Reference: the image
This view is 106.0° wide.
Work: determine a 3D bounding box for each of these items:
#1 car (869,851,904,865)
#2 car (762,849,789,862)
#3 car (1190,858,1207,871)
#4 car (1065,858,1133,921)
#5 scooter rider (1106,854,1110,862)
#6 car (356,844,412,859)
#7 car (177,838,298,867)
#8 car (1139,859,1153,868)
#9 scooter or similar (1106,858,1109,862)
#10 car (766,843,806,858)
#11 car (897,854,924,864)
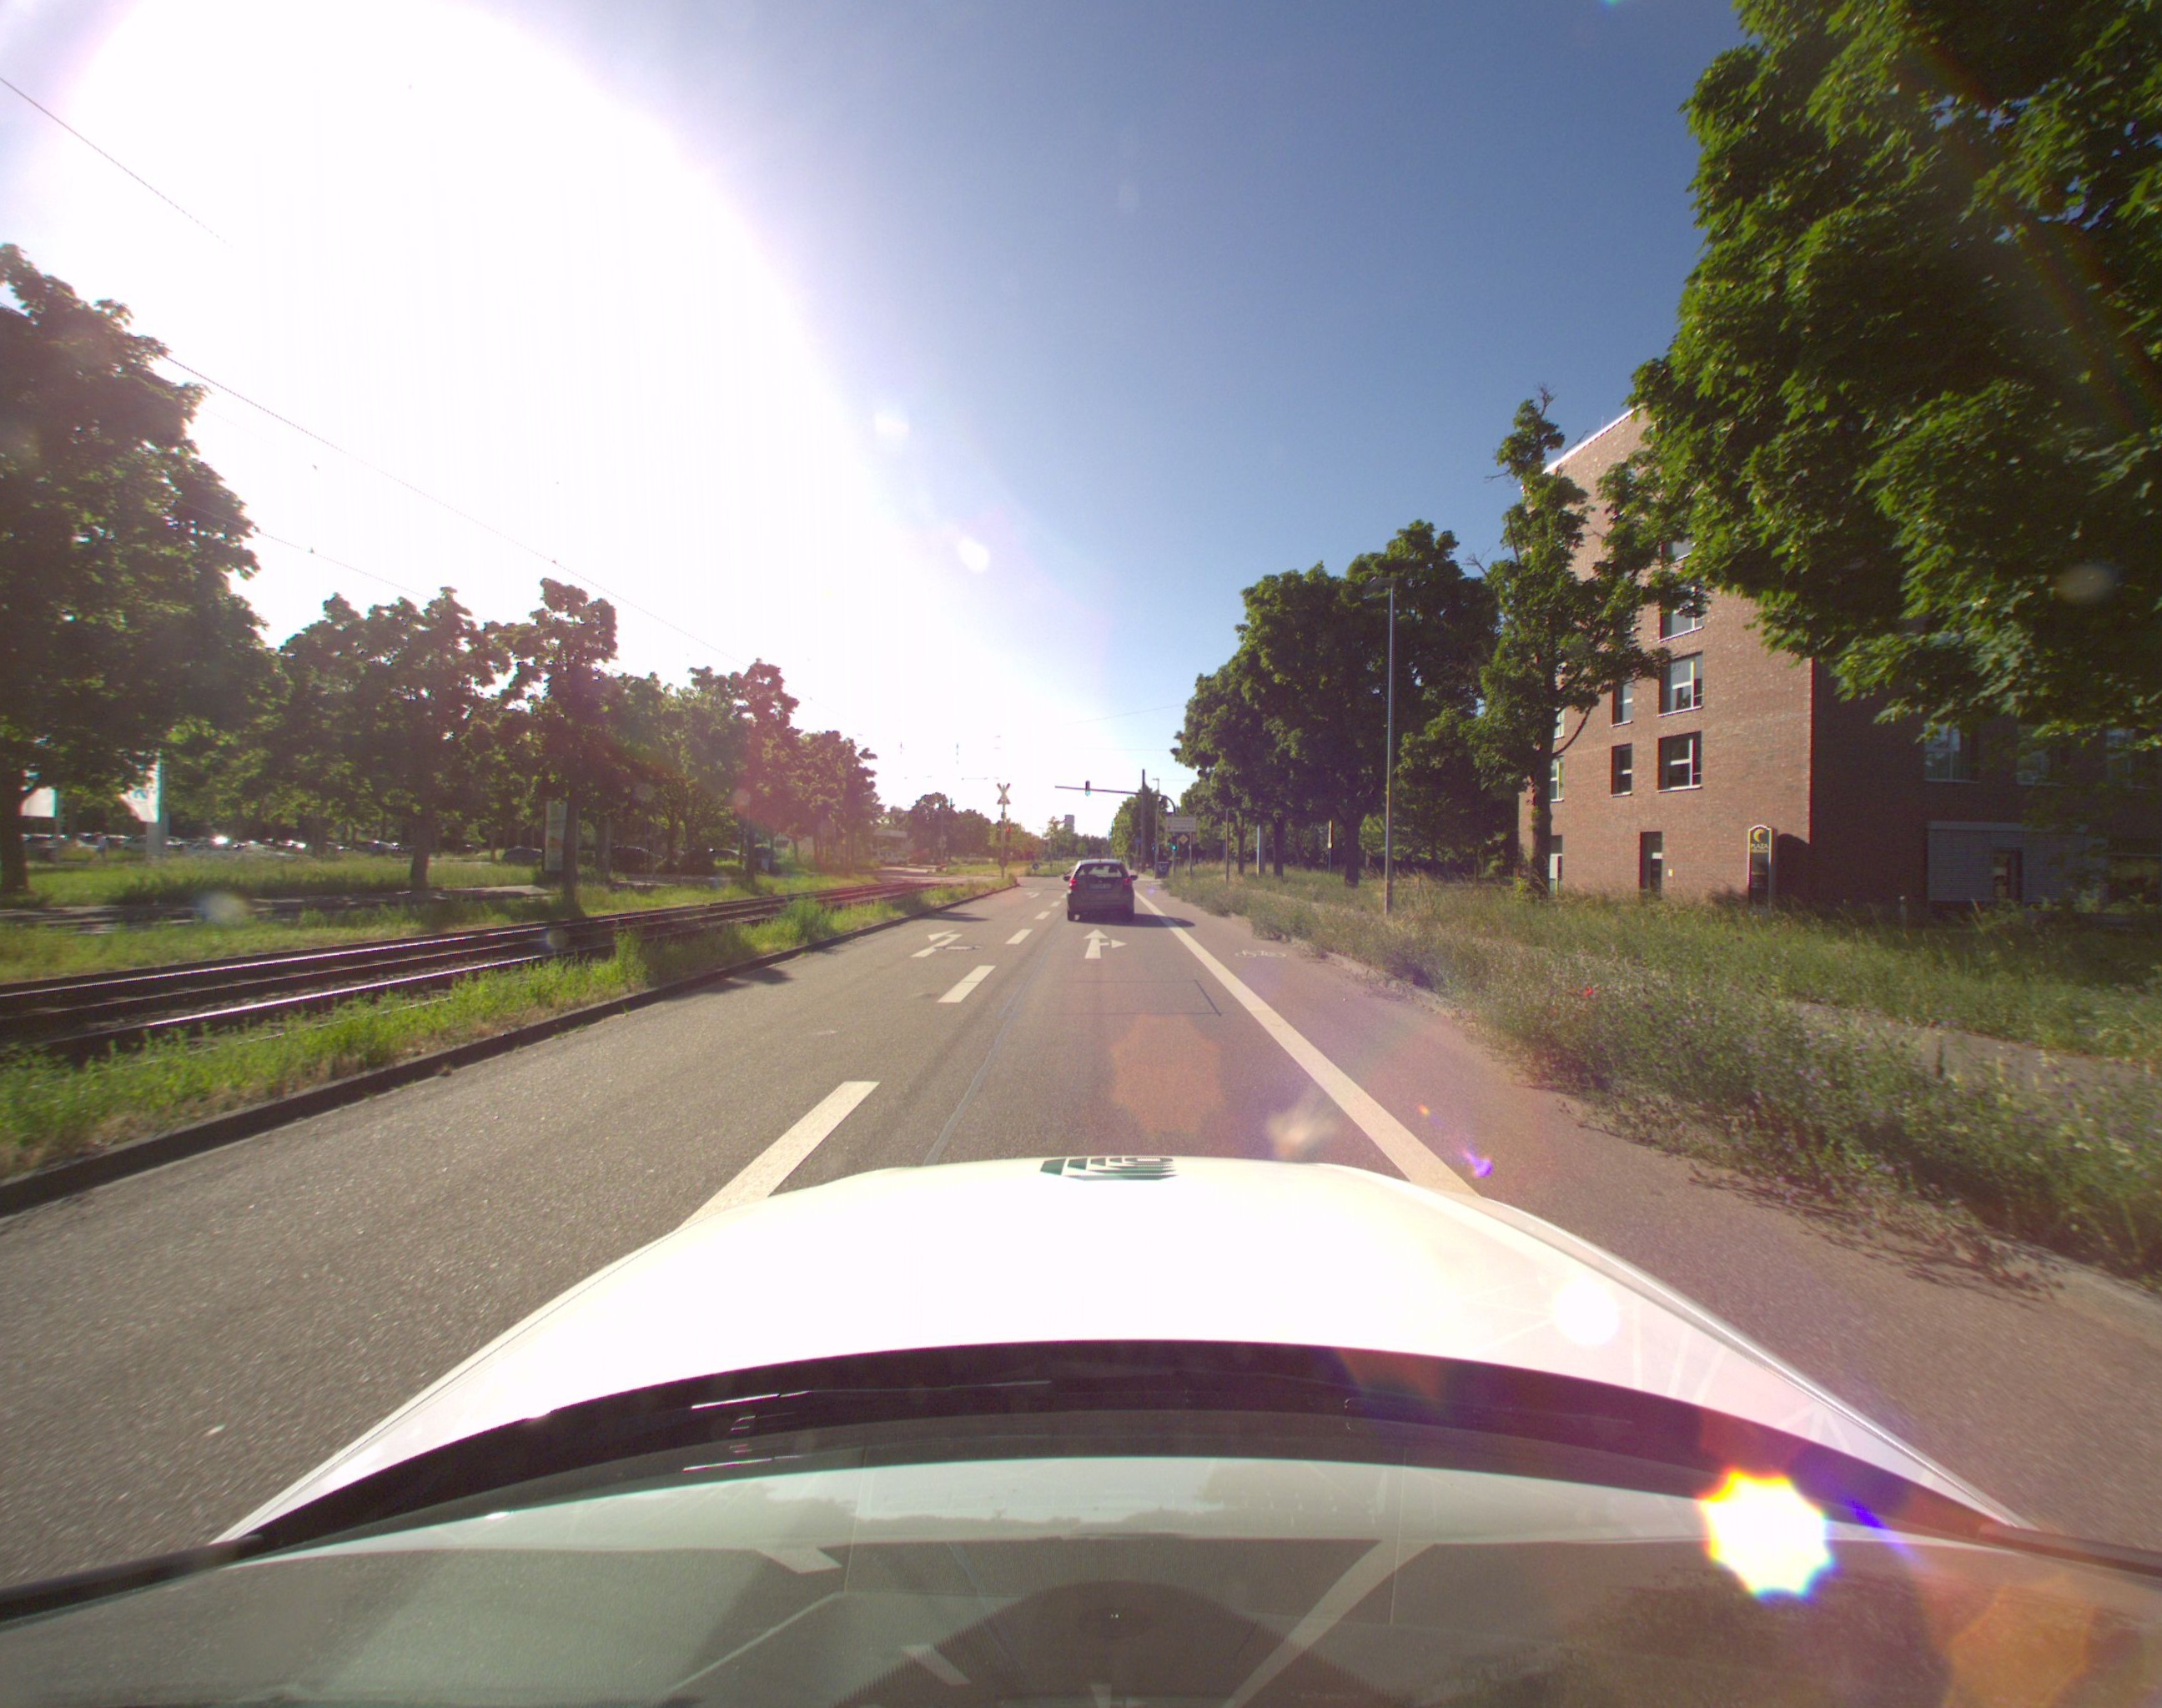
[{"bbox_3d":[-28.060,0.559,117.686,1.837,1.974,4.816,0,0,41],"label":"car"},{"bbox_3d":[-39.500,0.229,105.385,1.570,1.544,4.093,1,0,4],"label":"car"},{"bbox_3d":[18.249,1.627,126.717,1.866,1.966,5.166,2,0,0],"label":"car"},{"bbox_3d":[0.522,0.871,21.240,1.617,1.500,3.459,0,0,3],"label":"car"},{"bbox_3d":[6.370,1.037,192.964,0.714,1.901,0.934,1,-1,-2],"label":"scooter rider"},{"bbox_3d":[-71.082,-0.218,83.112,3.958,1.449,1.743,1,0,-5],"label":"car"},{"bbox_3d":[-49.055,-0.074,47.466,4.431,1.640,1.977,1,0,-20],"label":"car"},{"bbox_3d":[10.075,1.484,126.763,1.770,1.387,3.866,0,0,-3],"label":"car"},{"bbox_3d":[6.274,1.407,193.048,0.538,1.118,1.416,1,-1,-1],"label":"scooter or similar"},{"bbox_3d":[-40.896,-0.455,112.883,4.707,2.091,2.020,1,0,-1],"label":"car"},{"bbox_3d":[-28.056,0.870,134.346,4.060,1.568,1.791,1,0,-2],"label":"car"}]
